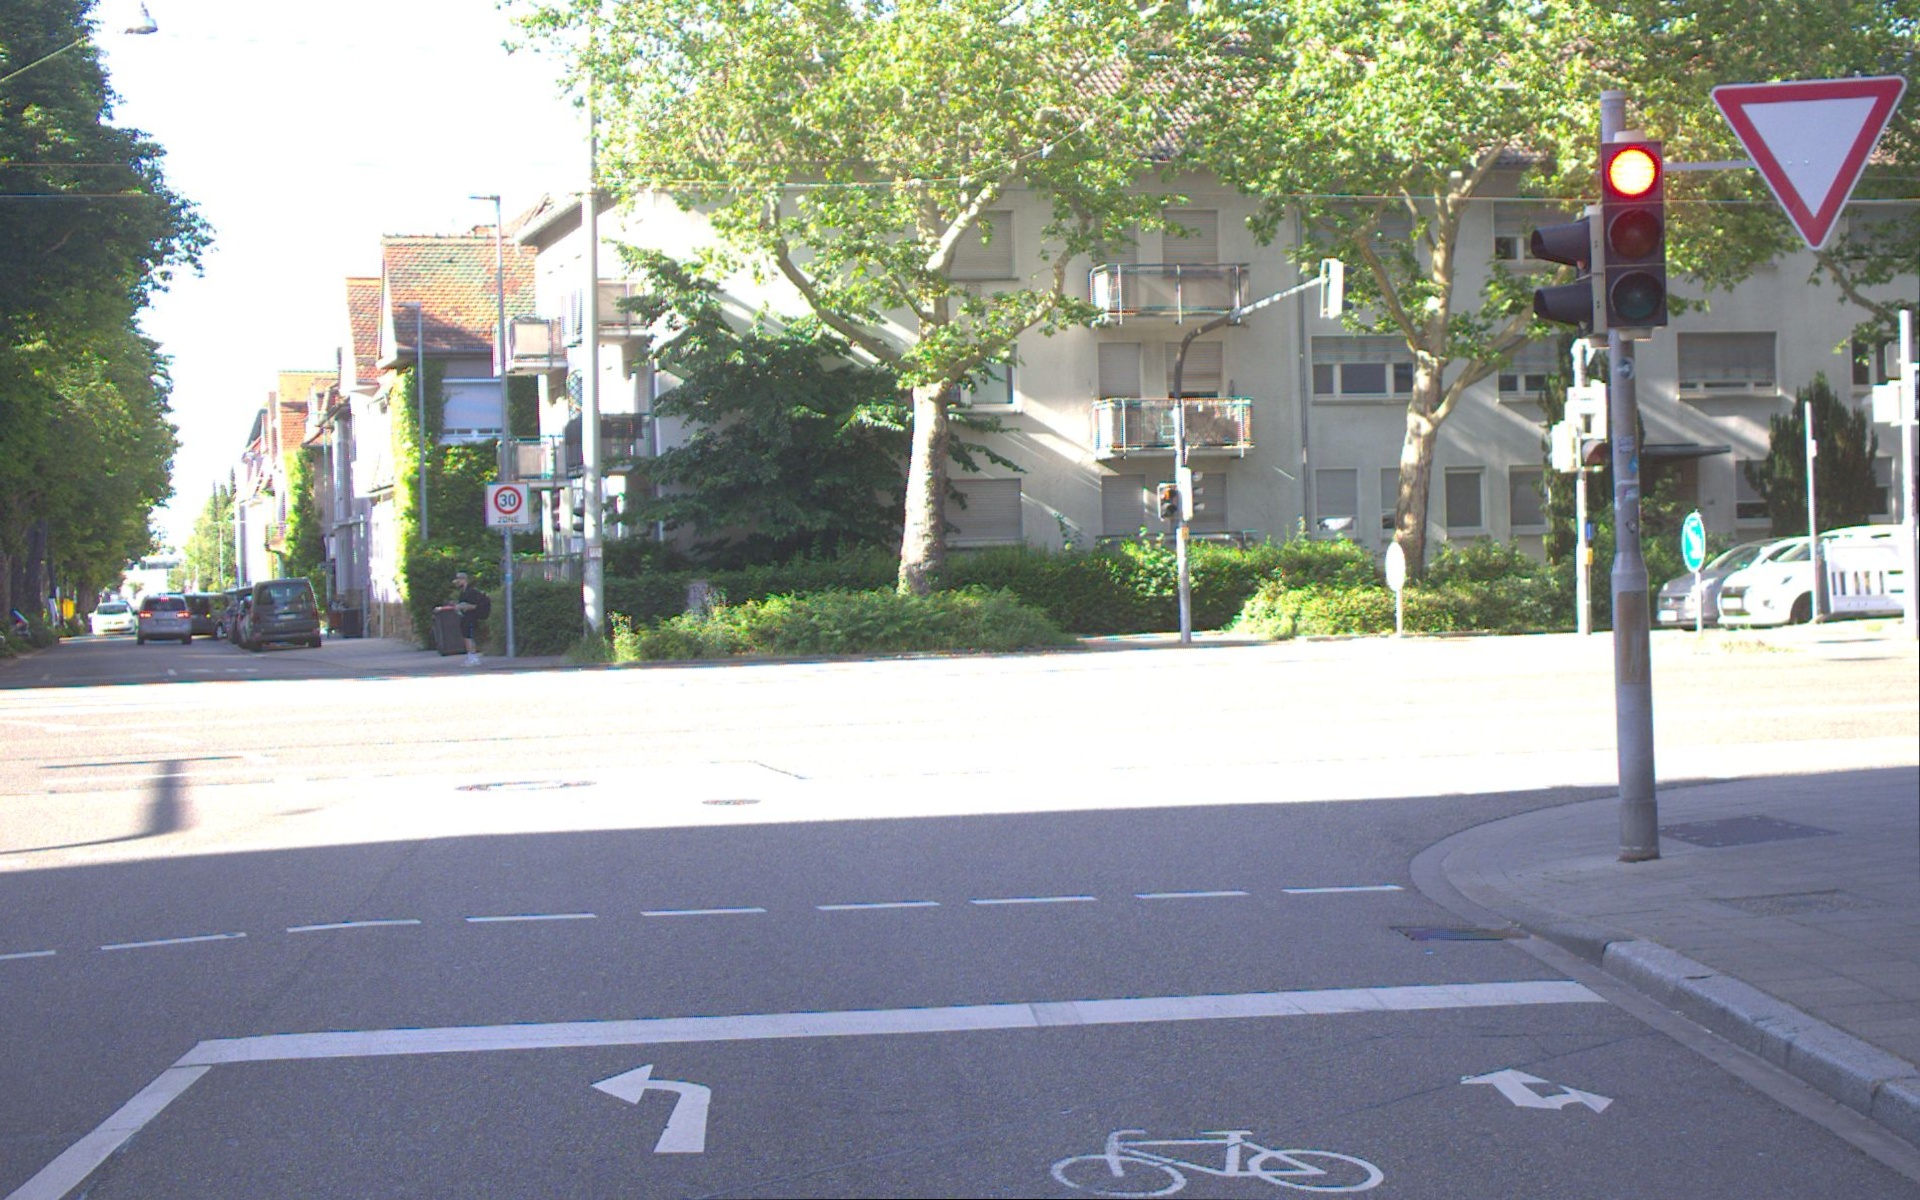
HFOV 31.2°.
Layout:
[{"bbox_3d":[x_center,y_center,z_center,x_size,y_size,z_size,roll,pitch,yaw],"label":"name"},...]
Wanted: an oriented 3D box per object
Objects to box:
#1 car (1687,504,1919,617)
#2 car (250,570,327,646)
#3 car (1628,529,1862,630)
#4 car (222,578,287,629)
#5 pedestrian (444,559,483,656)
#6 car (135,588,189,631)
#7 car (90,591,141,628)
[{"bbox_3d":[12.369,-0.582,48.585,3.786,1.467,1.630,-2,1,-21],"label":"car"},{"bbox_3d":[-18.844,0.198,96.548,1.993,2.007,4.001,-2,1,-10],"label":"car"},{"bbox_3d":[12.611,-0.345,55.237,3.379,1.482,1.525,-2,1,-22],"label":"car"},{"bbox_3d":[-26.129,0.129,127.230,1.993,1.826,4.001,-1,0,-16],"label":"car"},{"bbox_3d":[-8.963,0.132,62.068,0.633,1.744,0.659,-1,0,-5],"label":"pedestrian"},{"bbox_3d":[-27.880,0.324,120.201,1.673,1.477,3.523,-1,0,-11],"label":"car"},{"bbox_3d":[-35.961,0.403,146.330,1.993,1.441,4.001,-2,1,-15],"label":"car"}]
